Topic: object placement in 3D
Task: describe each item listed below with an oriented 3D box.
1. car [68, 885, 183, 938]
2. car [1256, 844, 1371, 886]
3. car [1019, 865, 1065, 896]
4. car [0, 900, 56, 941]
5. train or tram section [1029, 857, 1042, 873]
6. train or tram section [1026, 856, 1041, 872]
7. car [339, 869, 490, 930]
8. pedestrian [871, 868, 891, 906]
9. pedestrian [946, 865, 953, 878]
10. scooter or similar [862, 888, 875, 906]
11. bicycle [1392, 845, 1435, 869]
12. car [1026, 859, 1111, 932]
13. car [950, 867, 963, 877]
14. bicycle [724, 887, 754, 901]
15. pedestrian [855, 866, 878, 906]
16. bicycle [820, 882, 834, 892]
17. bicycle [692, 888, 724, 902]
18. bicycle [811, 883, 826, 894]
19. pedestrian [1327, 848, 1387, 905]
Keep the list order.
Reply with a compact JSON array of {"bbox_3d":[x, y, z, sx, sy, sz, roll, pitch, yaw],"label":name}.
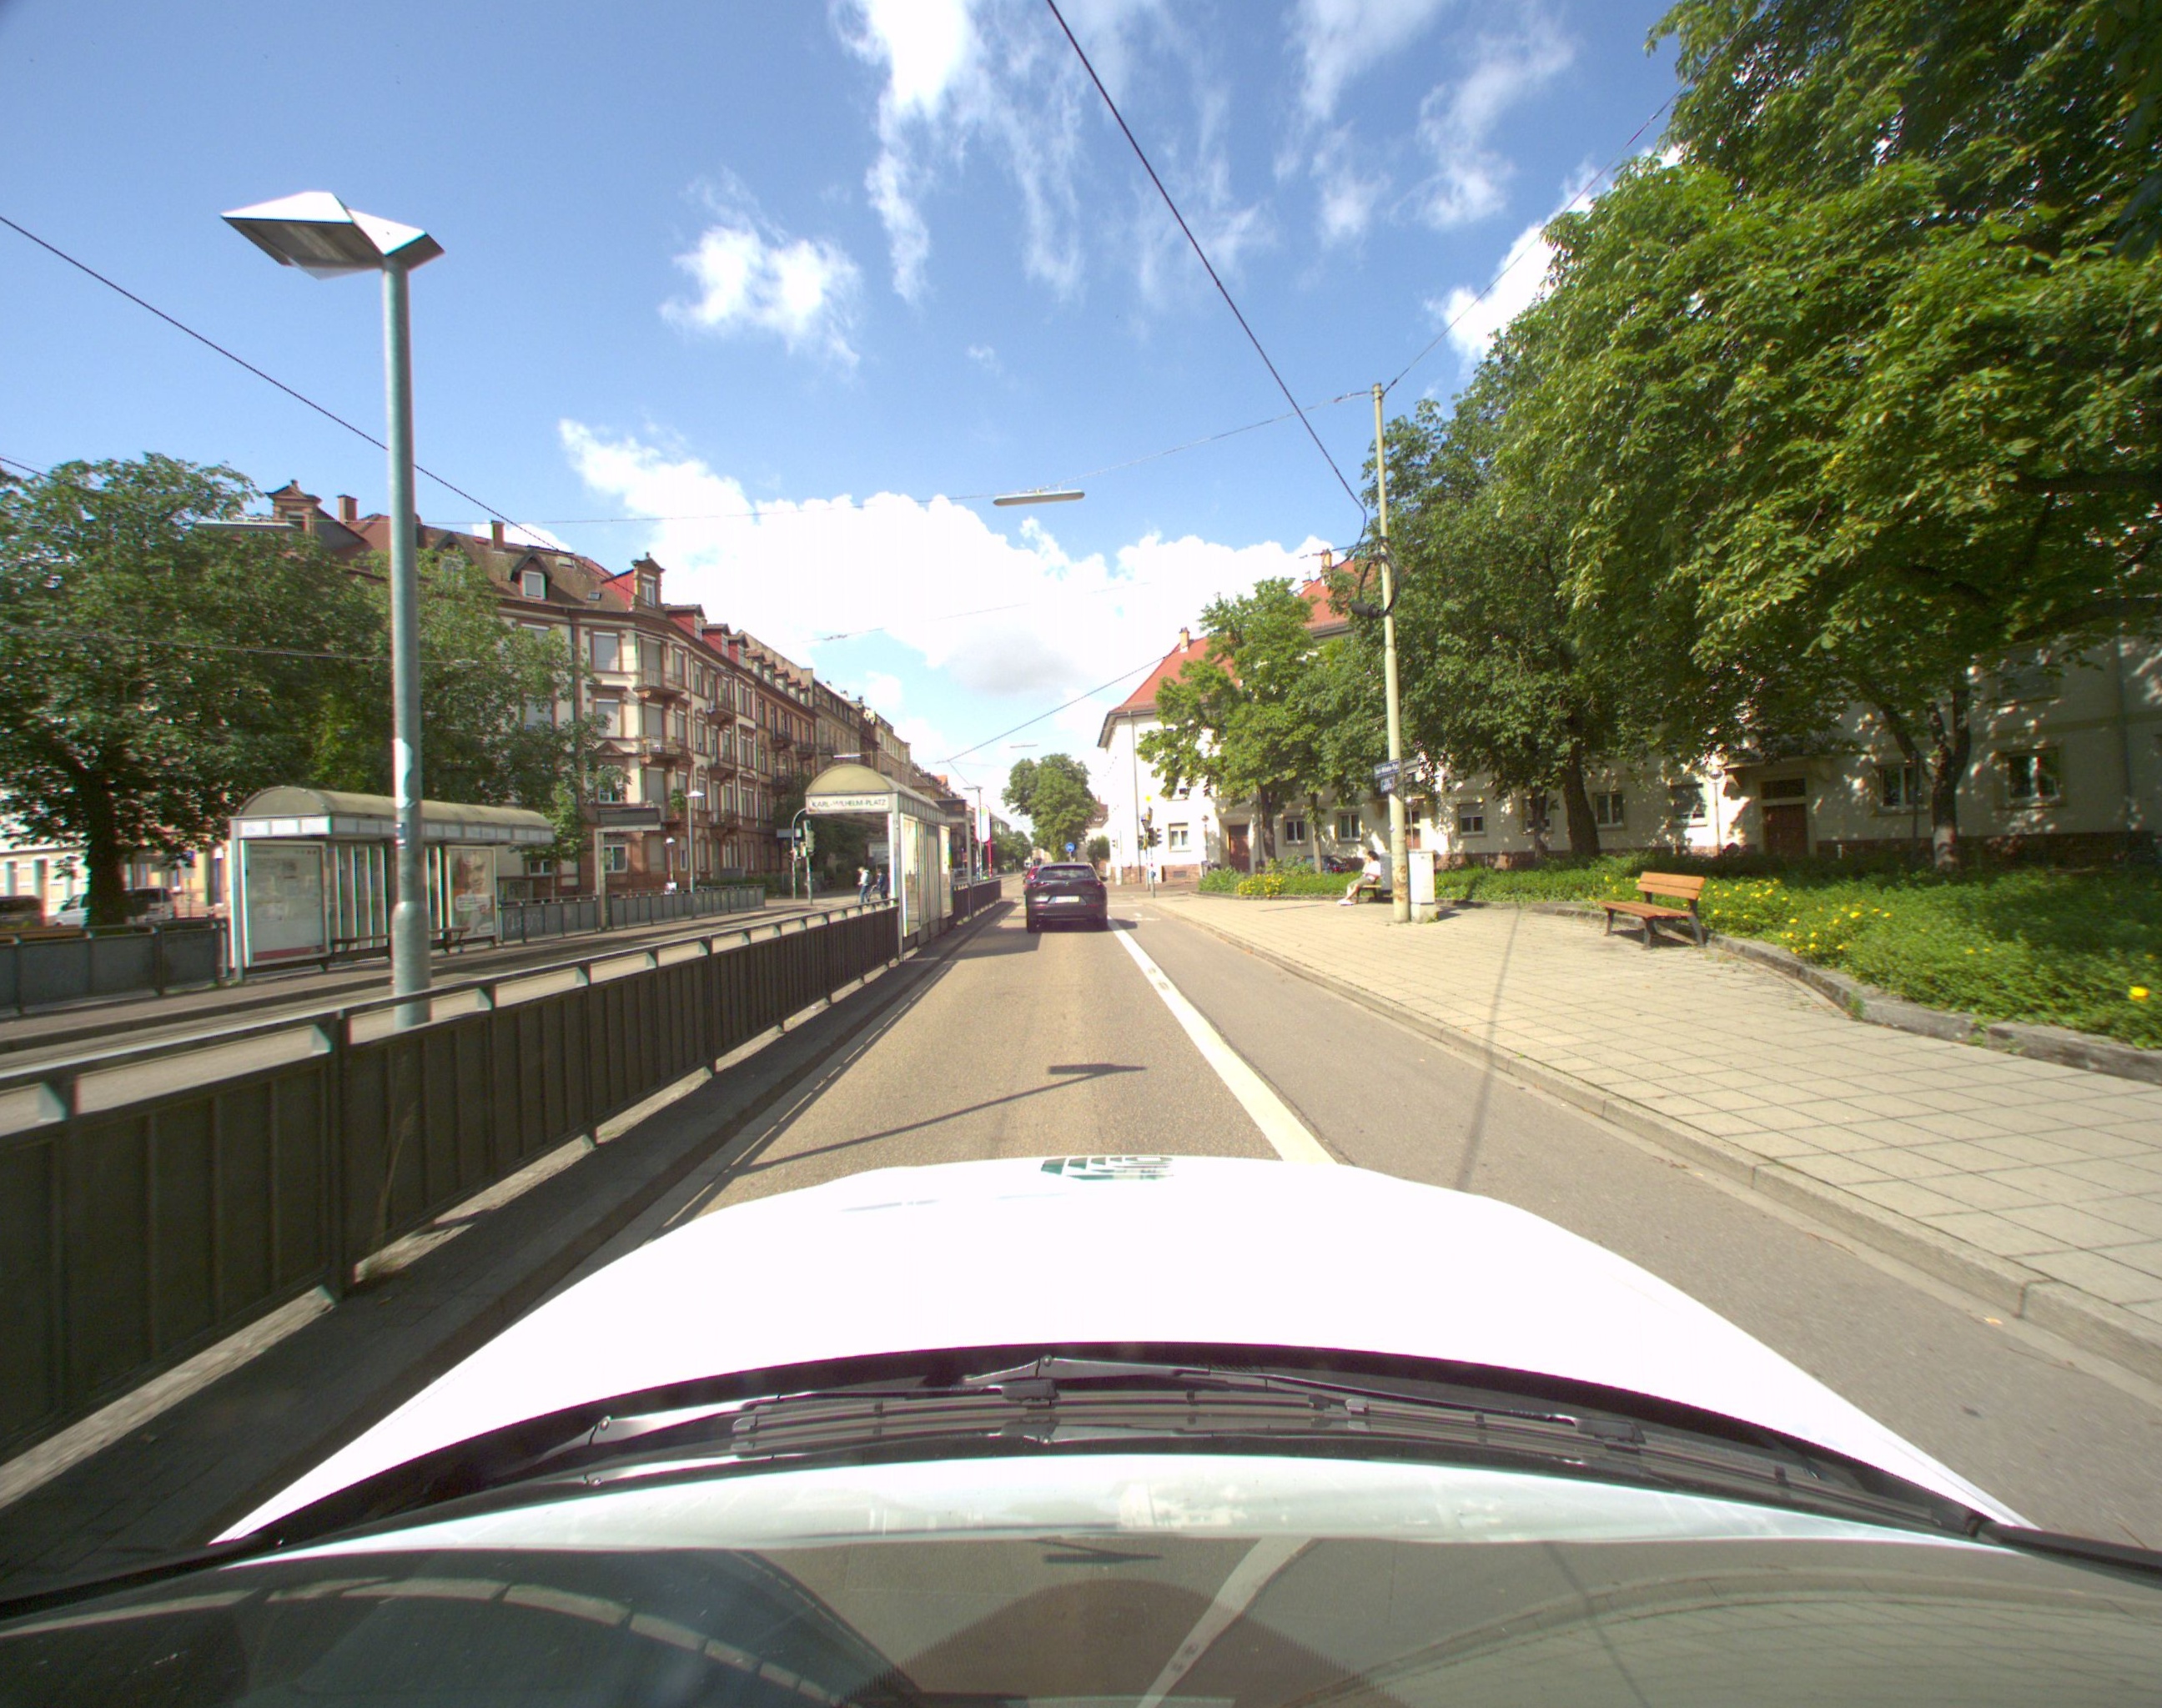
[{"bbox_3d":[-38.990,2.340,33.239,3.901,1.988,1.866,-2,-1,22],"label":"car"},{"bbox_3d":[9.633,0.469,33.914,4.118,1.510,1.863,-3,1,41],"label":"car"},{"bbox_3d":[-2.015,1.282,40.845,1.776,1.464,3.827,-1,-1,-11],"label":"car"},{"bbox_3d":[-48.310,2.994,36.425,3.894,1.663,1.926,-3,-1,21],"label":"car"},{"bbox_3d":[-12.351,3.029,221.417,2.989,3.984,13.798,-2,-1,-2],"label":"train or tram section"},{"bbox_3d":[-12.039,2.625,207.734,2.989,3.984,13.798,-2,-1,-2],"label":"train or tram section"},{"bbox_3d":[-21.865,1.435,26.934,1.675,1.777,3.998,-3,-1,-1],"label":"car"},{"bbox_3d":[-8.335,1.384,33.970,0.666,1.546,0.580,-2,-1,-2],"label":"pedestrian"},{"bbox_3d":[-17.838,2.371,110.168,0.785,1.688,0.732,-2,-1,0],"label":"pedestrian"},{"bbox_3d":[-8.864,1.806,33.951,0.413,0.721,0.486,-2,-1,-2],"label":"scooter or similar"},{"bbox_3d":[15.602,0.153,38.227,0.570,1.020,1.733,-4,0,-38],"label":"bicycle"},{"bbox_3d":[-0.363,0.900,19.108,1.778,1.514,3.995,0,-1,-3],"label":"car"},{"bbox_3d":[-21.173,3.019,138.458,1.653,1.596,3.926,-3,-1,-2],"label":"car"},{"bbox_3d":[-20.665,2.403,49.273,0.381,0.747,1.722,-3,-1,34],"label":"bicycle"},{"bbox_3d":[-9.103,1.353,34.543,0.769,1.675,0.667,-2,-1,-2],"label":"pedestrian"},{"bbox_3d":[-18.670,2.421,59.894,0.383,0.677,1.712,-2,-1,3],"label":"bicycle"},{"bbox_3d":[-21.791,2.381,47.600,0.381,0.747,1.722,-3,-1,34],"label":"bicycle"},{"bbox_3d":[-18.566,2.435,57.690,0.383,0.653,1.712,-2,-1,3],"label":"bicycle"},{"bbox_3d":[6.744,0.543,19.910,1.191,1.269,0.556,-4,-1,-7],"label":"pedestrian"}]
